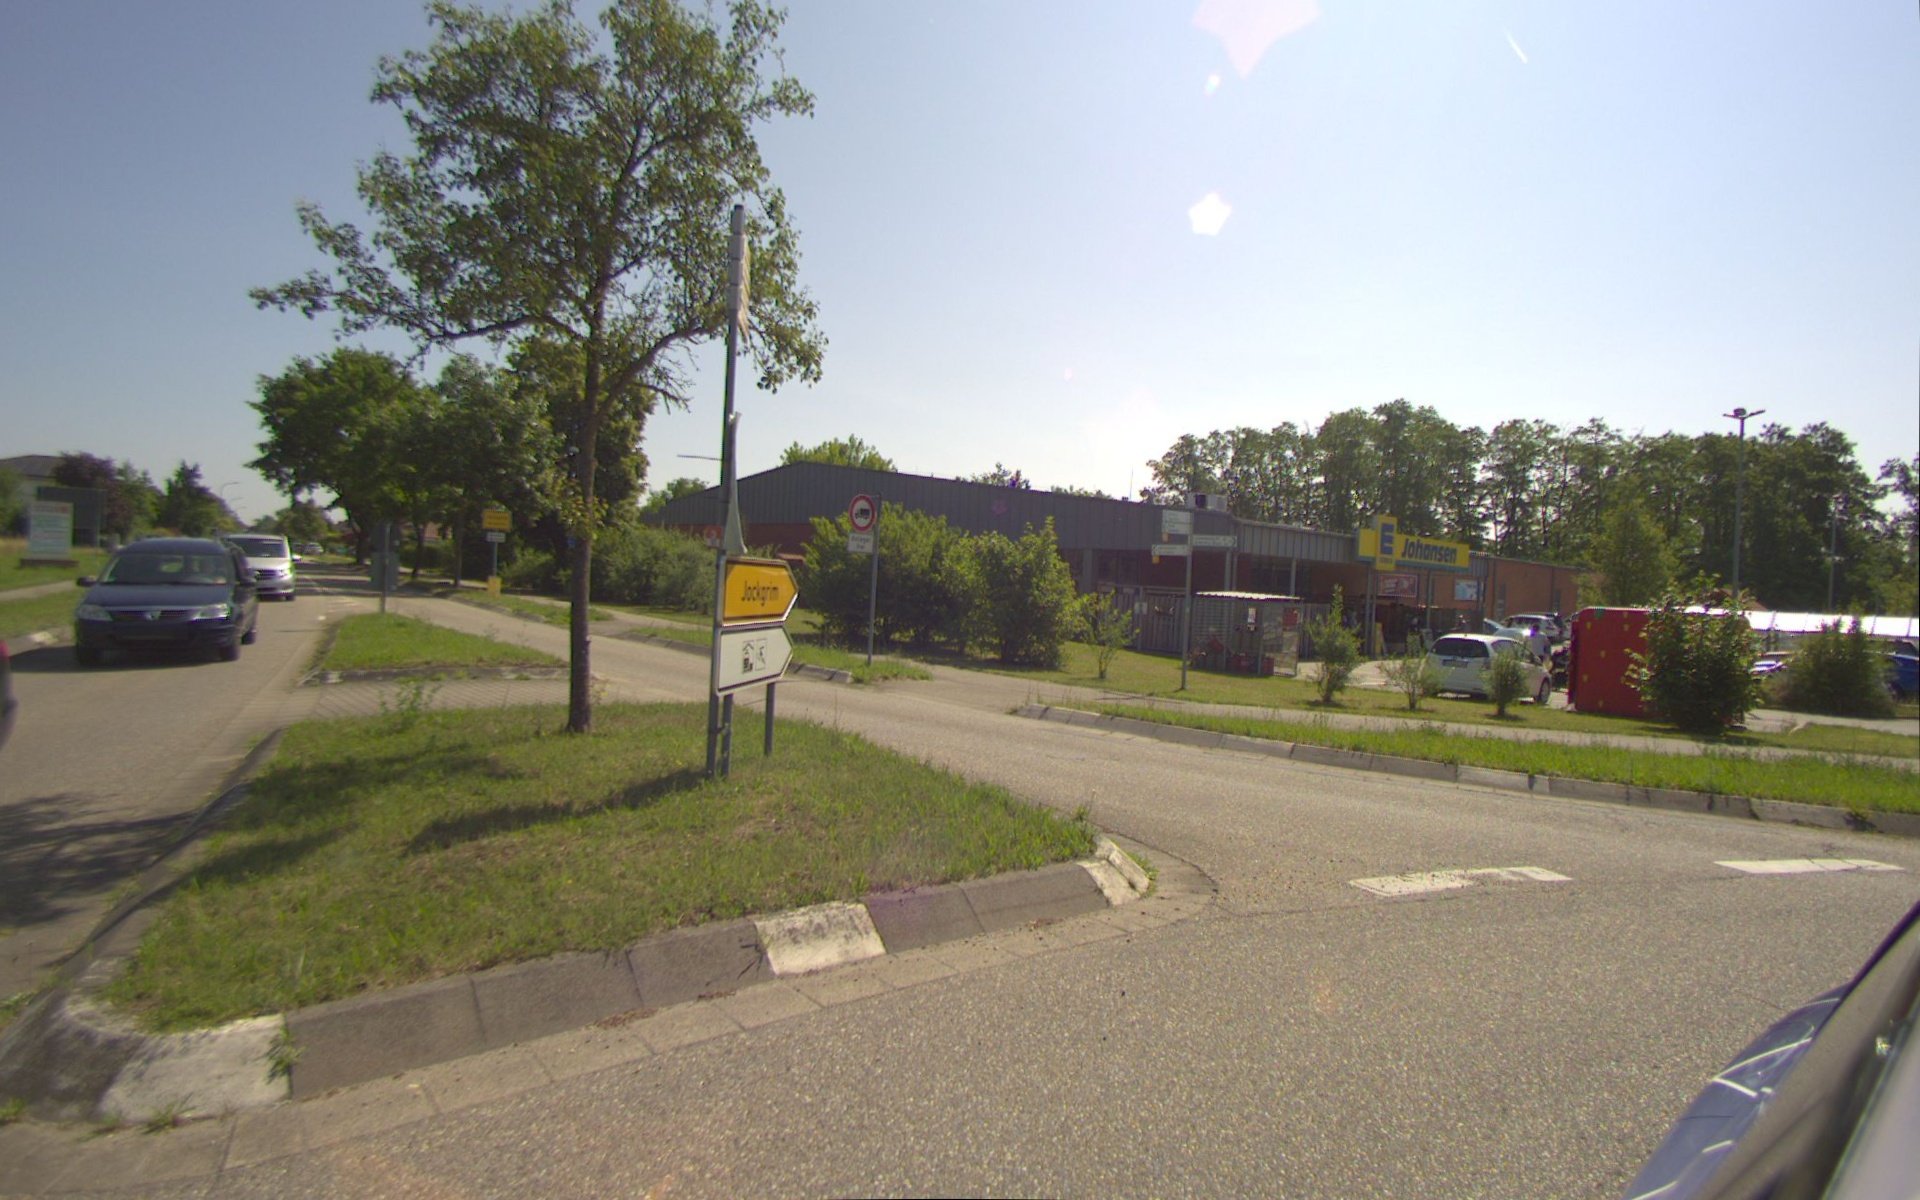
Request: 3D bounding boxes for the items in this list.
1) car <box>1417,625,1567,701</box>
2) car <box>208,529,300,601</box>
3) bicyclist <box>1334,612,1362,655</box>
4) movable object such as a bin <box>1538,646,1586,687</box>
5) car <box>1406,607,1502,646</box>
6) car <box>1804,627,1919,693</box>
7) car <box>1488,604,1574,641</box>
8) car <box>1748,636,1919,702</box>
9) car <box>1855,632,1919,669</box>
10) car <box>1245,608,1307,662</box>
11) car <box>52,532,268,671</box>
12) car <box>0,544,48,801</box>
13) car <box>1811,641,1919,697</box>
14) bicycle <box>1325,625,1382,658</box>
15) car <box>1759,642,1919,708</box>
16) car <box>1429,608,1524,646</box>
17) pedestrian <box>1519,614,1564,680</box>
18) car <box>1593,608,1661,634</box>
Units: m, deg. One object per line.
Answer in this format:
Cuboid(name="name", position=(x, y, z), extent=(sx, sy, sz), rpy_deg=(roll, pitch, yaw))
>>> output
Cuboid(name="car", position=(12.121, 1.412, 22.981), extent=(3.704, 1.464, 1.724), rpy_deg=(4, 0, -41))
Cuboid(name="car", position=(-20.395, -1.060, 29.419), extent=(1.961, 1.838, 5.205), rpy_deg=(2, 2, -33))
Cuboid(name="bicyclist", position=(14.447, 1.260, 37.686), extent=(0.595, 1.533, 0.679), rpy_deg=(3, 1, -26))
Cuboid(name="movable object such as a bin", position=(17.393, 1.921, 29.248), extent=(0.755, 1.060, 1.039), rpy_deg=(3, 0, 5))
Cuboid(name="car", position=(25.253, 1.346, 51.800), extent=(3.988, 1.705, 1.969), rpy_deg=(4, 1, 43))
Cuboid(name="car", position=(31.366, 2.026, 34.575), extent=(1.843, 1.953, 3.493), rpy_deg=(3, 1, -36))
Cuboid(name="car", position=(33.517, 1.310, 59.455), extent=(3.988, 1.838, 1.969), rpy_deg=(5, 2, 43))
Cuboid(name="car", position=(27.144, 2.078, 31.001), extent=(1.685, 1.591, 4.425), rpy_deg=(3, 1, -39))
Cuboid(name="car", position=(48.534, 2.644, 51.583), extent=(1.963, 1.682, 3.999), rpy_deg=(3, 1, -37))
Cuboid(name="car", position=(10.351, 1.131, 33.179), extent=(1.797, 1.656, 1.129), rpy_deg=(3, 0, -42))
Cuboid(name="car", position=(-11.216, -0.099, 14.526), extent=(1.780, 1.660, 4.661), rpy_deg=(-2, 3, -31))
Cuboid(name="car", position=(-5.677, 0.505, 3.572), extent=(1.883, 1.451, 4.925), rpy_deg=(0, 3, -20))
Cuboid(name="car", position=(29.785, 2.215, 32.423), extent=(1.683, 1.516, 3.493), rpy_deg=(3, 1, -36))
Cuboid(name="bicycle", position=(14.561, 1.511, 37.503), extent=(0.542, 1.054, 2.080), rpy_deg=(3, 1, -26))
Cuboid(name="car", position=(25.224, 2.078, 28.822), extent=(1.683, 1.476, 3.493), rpy_deg=(3, 1, -36))
Cuboid(name="car", position=(27.004, 1.403, 52.971), extent=(3.988, 1.705, 1.969), rpy_deg=(4, 1, 43))
Cuboid(name="pedestrian", position=(17.710, 1.421, 30.837), extent=(0.824, 1.894, 0.775), rpy_deg=(3, 0, -3))
Cuboid(name="car", position=(49.048, 1.517, 74.476), extent=(1.751, 1.660, 3.769), rpy_deg=(2, 2, -41))
